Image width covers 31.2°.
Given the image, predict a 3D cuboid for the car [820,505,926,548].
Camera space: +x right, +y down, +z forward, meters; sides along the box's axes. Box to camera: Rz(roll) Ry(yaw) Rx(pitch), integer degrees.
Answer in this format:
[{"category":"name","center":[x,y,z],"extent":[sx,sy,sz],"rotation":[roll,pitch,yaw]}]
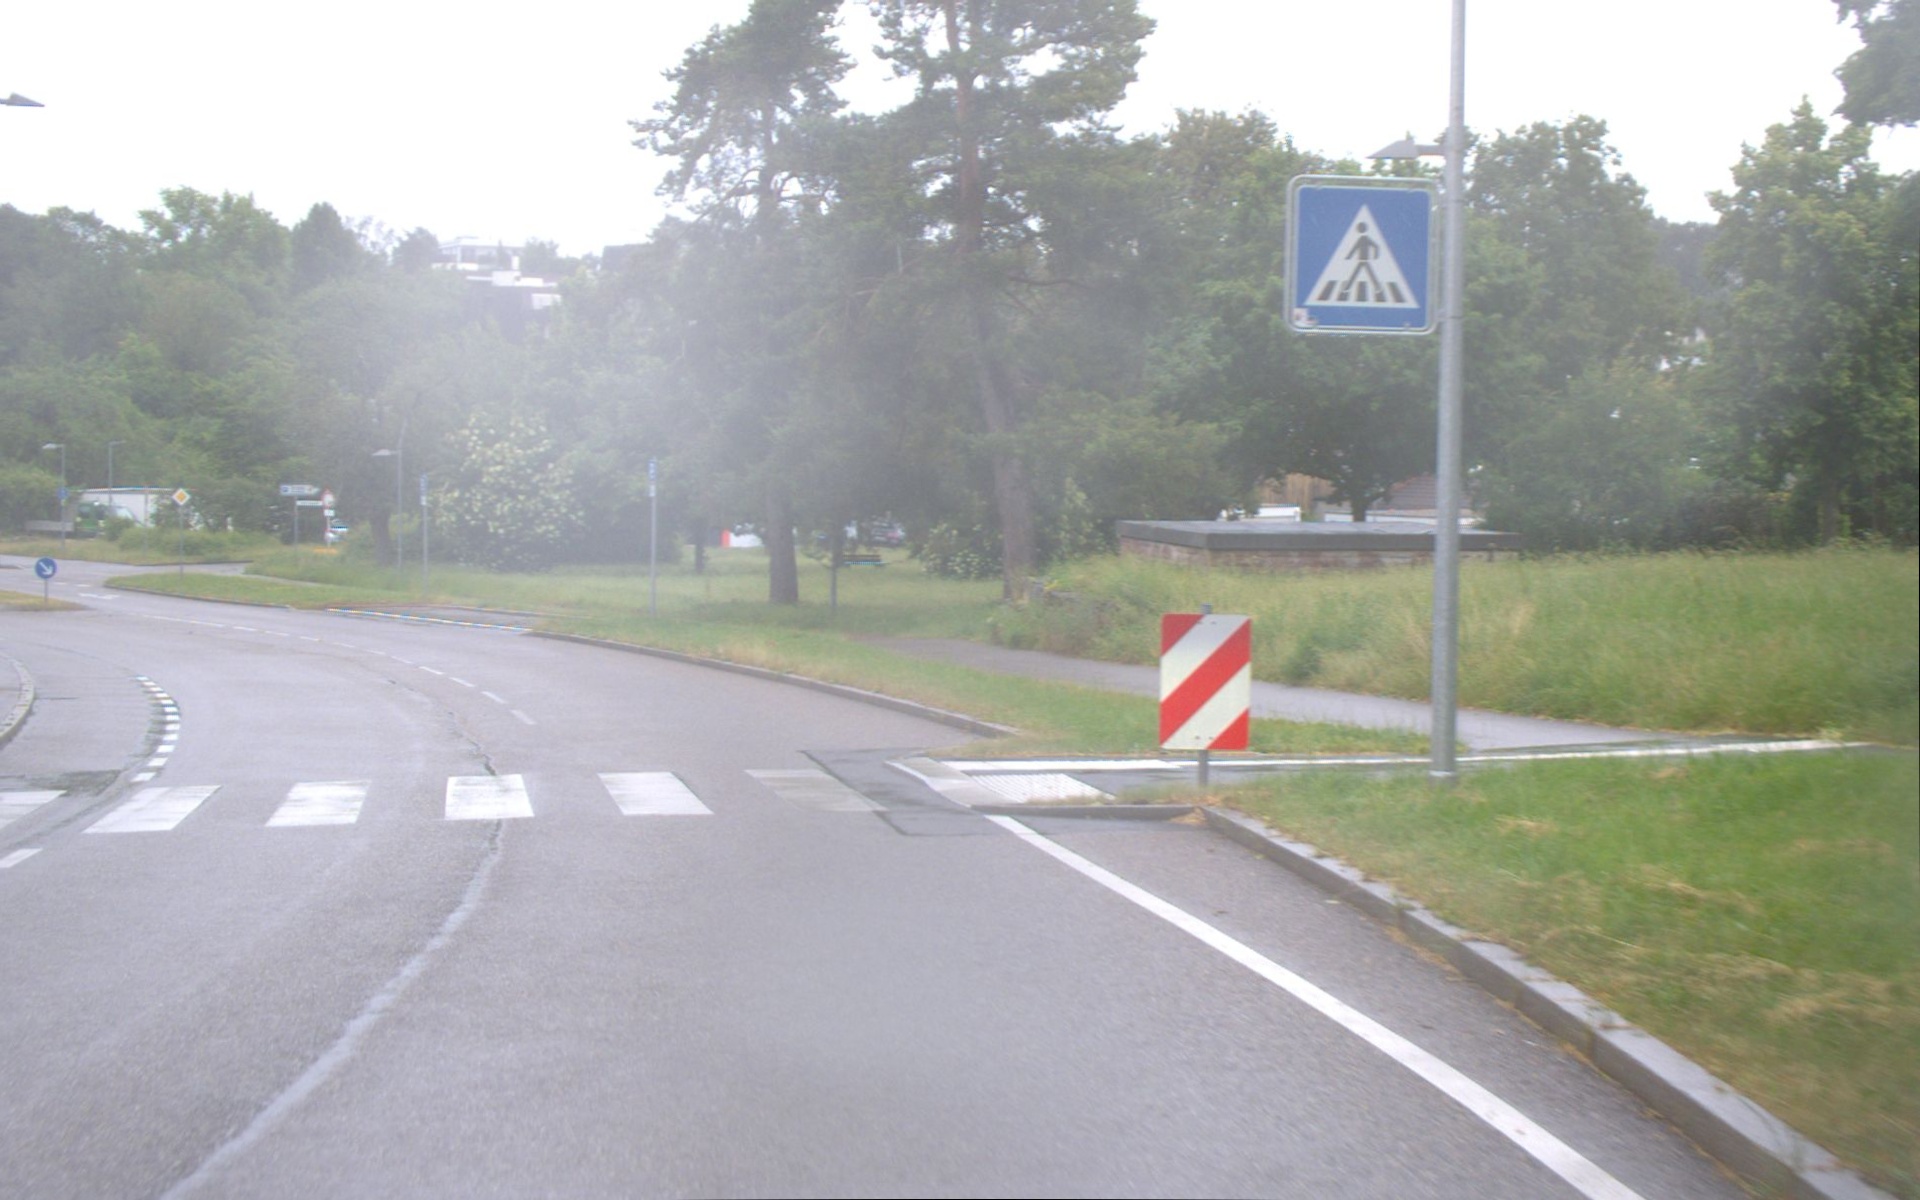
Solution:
[{"category":"car","center":[-4.054,-3.403,159.859],"extent":[4.551,1.744,1.910],"rotation":[-2,1,31]}]
